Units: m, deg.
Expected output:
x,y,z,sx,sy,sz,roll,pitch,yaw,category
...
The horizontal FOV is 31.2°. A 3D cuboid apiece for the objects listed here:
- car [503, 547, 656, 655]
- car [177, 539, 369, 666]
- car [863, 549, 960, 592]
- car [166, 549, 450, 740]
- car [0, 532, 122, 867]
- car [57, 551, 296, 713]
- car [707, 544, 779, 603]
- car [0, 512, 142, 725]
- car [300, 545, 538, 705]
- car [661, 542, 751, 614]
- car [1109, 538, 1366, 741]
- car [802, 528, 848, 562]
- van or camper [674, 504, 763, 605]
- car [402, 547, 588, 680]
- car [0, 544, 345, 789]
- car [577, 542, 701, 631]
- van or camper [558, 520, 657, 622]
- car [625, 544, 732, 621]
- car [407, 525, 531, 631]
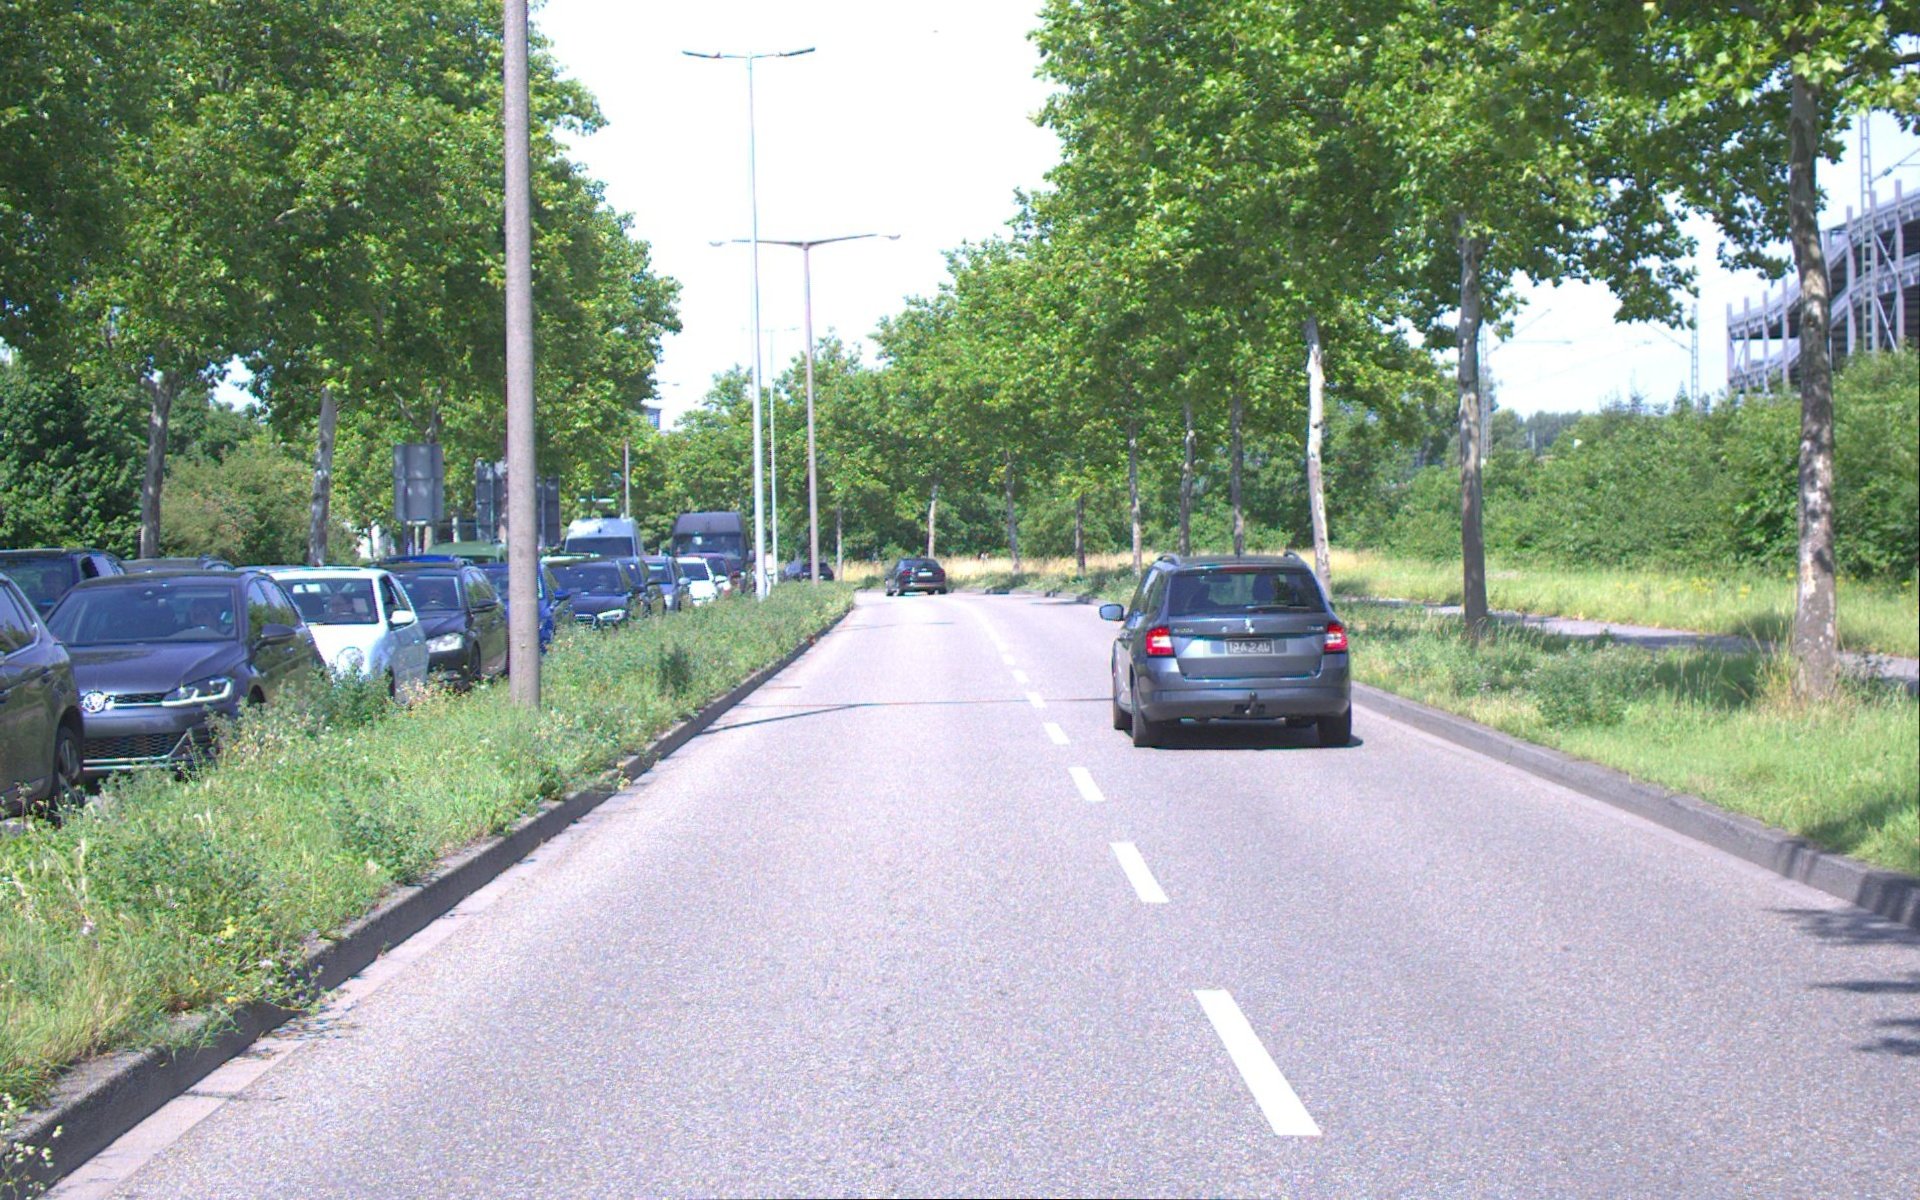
x,y,z,sx,sy,sz,roll,pitch,yaw,category
-5.533,-0.021,50.431,1.823,1.460,4.451,-2,1,-1,car
-8.891,0.000,44.759,1.689,1.525,3.939,-2,1,0,car
-1.842,-1.113,128.329,1.908,1.458,4.623,-1,2,-25,car
-5.520,0.328,29.514,1.689,1.467,3.815,-2,1,0,car
-5.407,0.487,16.541,1.689,1.581,4.240,-2,1,0,car
-8.662,0.307,38.333,1.689,1.641,4.178,-2,1,0,car
-5.833,-0.709,92.800,1.689,1.525,3.814,-2,0,0,car
-8.644,0.162,30.332,1.821,1.731,4.769,-1,0,-2,car
-5.690,0.212,36.703,1.758,1.525,4.828,-2,1,0,car
-5.599,-0.506,76.130,1.689,1.505,3.815,-2,1,0,car
2.116,0.251,27.151,1.674,1.448,4.036,1,1,0,car
-6.032,-2.431,152.831,1.908,1.458,4.583,-1,1,-4,car
-5.953,-1.110,85.271,1.938,2.360,5.398,-2,0,-2,van or camper
-5.683,0.126,42.436,1.784,1.484,4.212,-2,1,-1,car
-5.505,0.390,23.831,1.689,1.468,4.218,-2,1,0,car
-5.894,-0.277,63.645,1.813,1.525,4.642,-2,1,0,car
-9.268,-0.798,90.861,2.015,2.579,5.517,-2,1,0,van or camper
-5.672,-0.372,69.701,1.783,1.454,4.472,-1,1,0,car
-9.034,-0.409,63.497,1.689,1.852,4.036,-2,1,0,car
